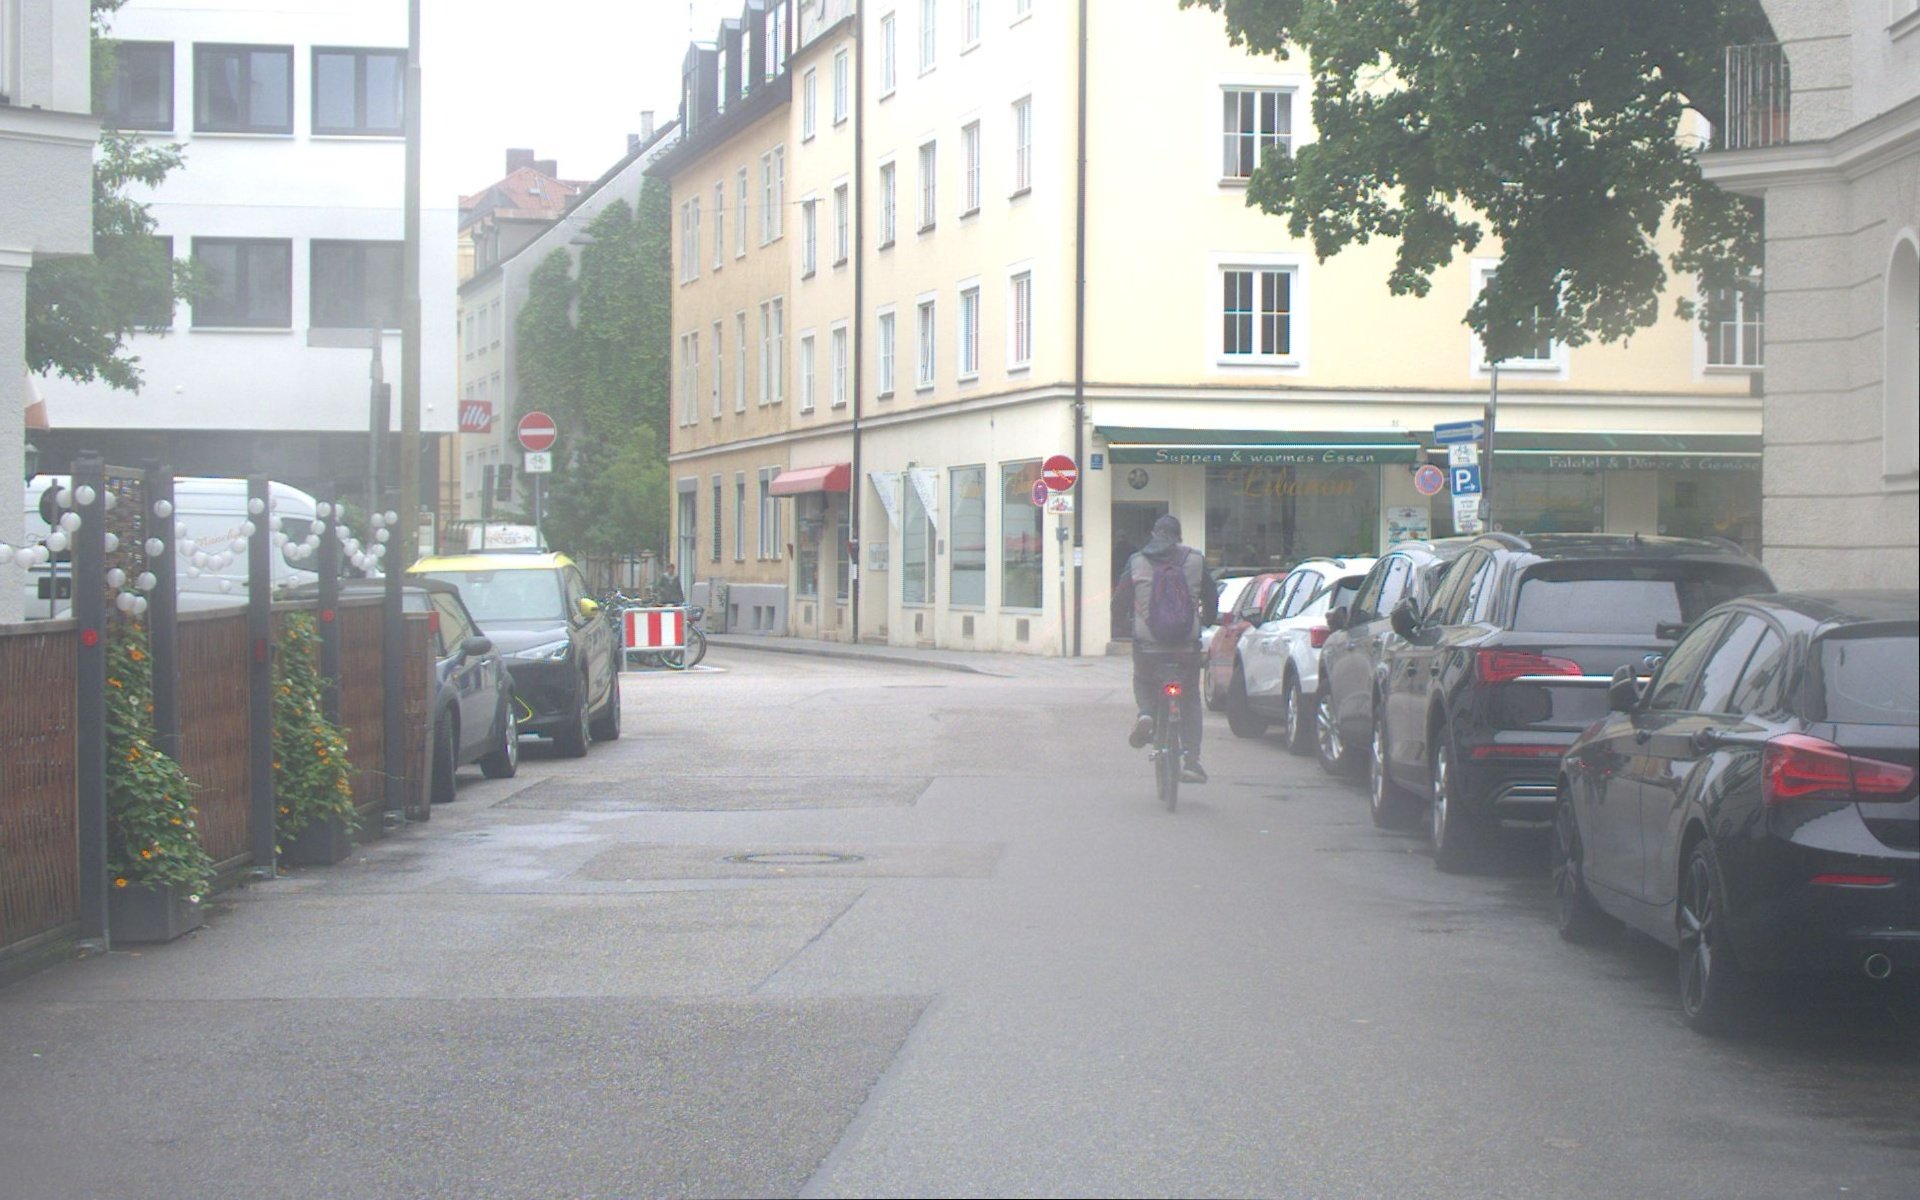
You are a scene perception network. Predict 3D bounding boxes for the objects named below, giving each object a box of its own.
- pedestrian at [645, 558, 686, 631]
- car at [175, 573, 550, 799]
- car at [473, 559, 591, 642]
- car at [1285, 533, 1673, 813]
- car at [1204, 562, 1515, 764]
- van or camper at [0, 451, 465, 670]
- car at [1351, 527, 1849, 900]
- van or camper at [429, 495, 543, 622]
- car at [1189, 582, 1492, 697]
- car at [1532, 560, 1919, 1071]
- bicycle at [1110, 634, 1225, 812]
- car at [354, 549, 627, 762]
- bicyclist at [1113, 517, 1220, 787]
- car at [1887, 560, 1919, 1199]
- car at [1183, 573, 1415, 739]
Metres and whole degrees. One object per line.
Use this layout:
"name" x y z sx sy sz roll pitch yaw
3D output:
"pedestrian" -7.236 -0.142 84.386 0.877 1.772 0.774 1 0 -13
"car" -3.930 0.516 23.222 1.707 1.385 4.000 0 0 2
"car" -8.278 -0.008 66.296 1.832 1.530 4.001 1 0 -13
"car" 3.430 0.431 23.537 1.789 1.707 4.427 1 1 -2
"car" 3.175 0.460 28.088 1.750 1.491 3.910 1 0 -5
"van or camper" -9.382 -0.467 44.188 5.903 2.668 1.873 1 -1 -9
"car" 3.164 0.490 17.857 1.777 1.630 4.375 2 1 1
"van or camper" -9.941 -0.858 71.833 1.993 2.531 4.762 1 0 -12
"car" 5.239 0.567 47.690 3.987 1.411 1.820 2 -3 0
"car" 3.177 0.615 12.088 1.706 1.466 4.201 1 1 2
"bicycle" 1.244 0.723 20.831 0.639 1.001 1.574 1 0 2
"car" -3.752 0.414 28.048 1.676 1.591 3.945 -1 0 0
"bicyclist" 1.248 0.303 20.902 0.606 1.601 0.757 1 1 2
"car" 3.151 0.719 6.542 1.655 1.520 3.637 2 1 -2
"car" 3.219 0.490 33.338 1.669 1.430 4.214 2 1 -2
